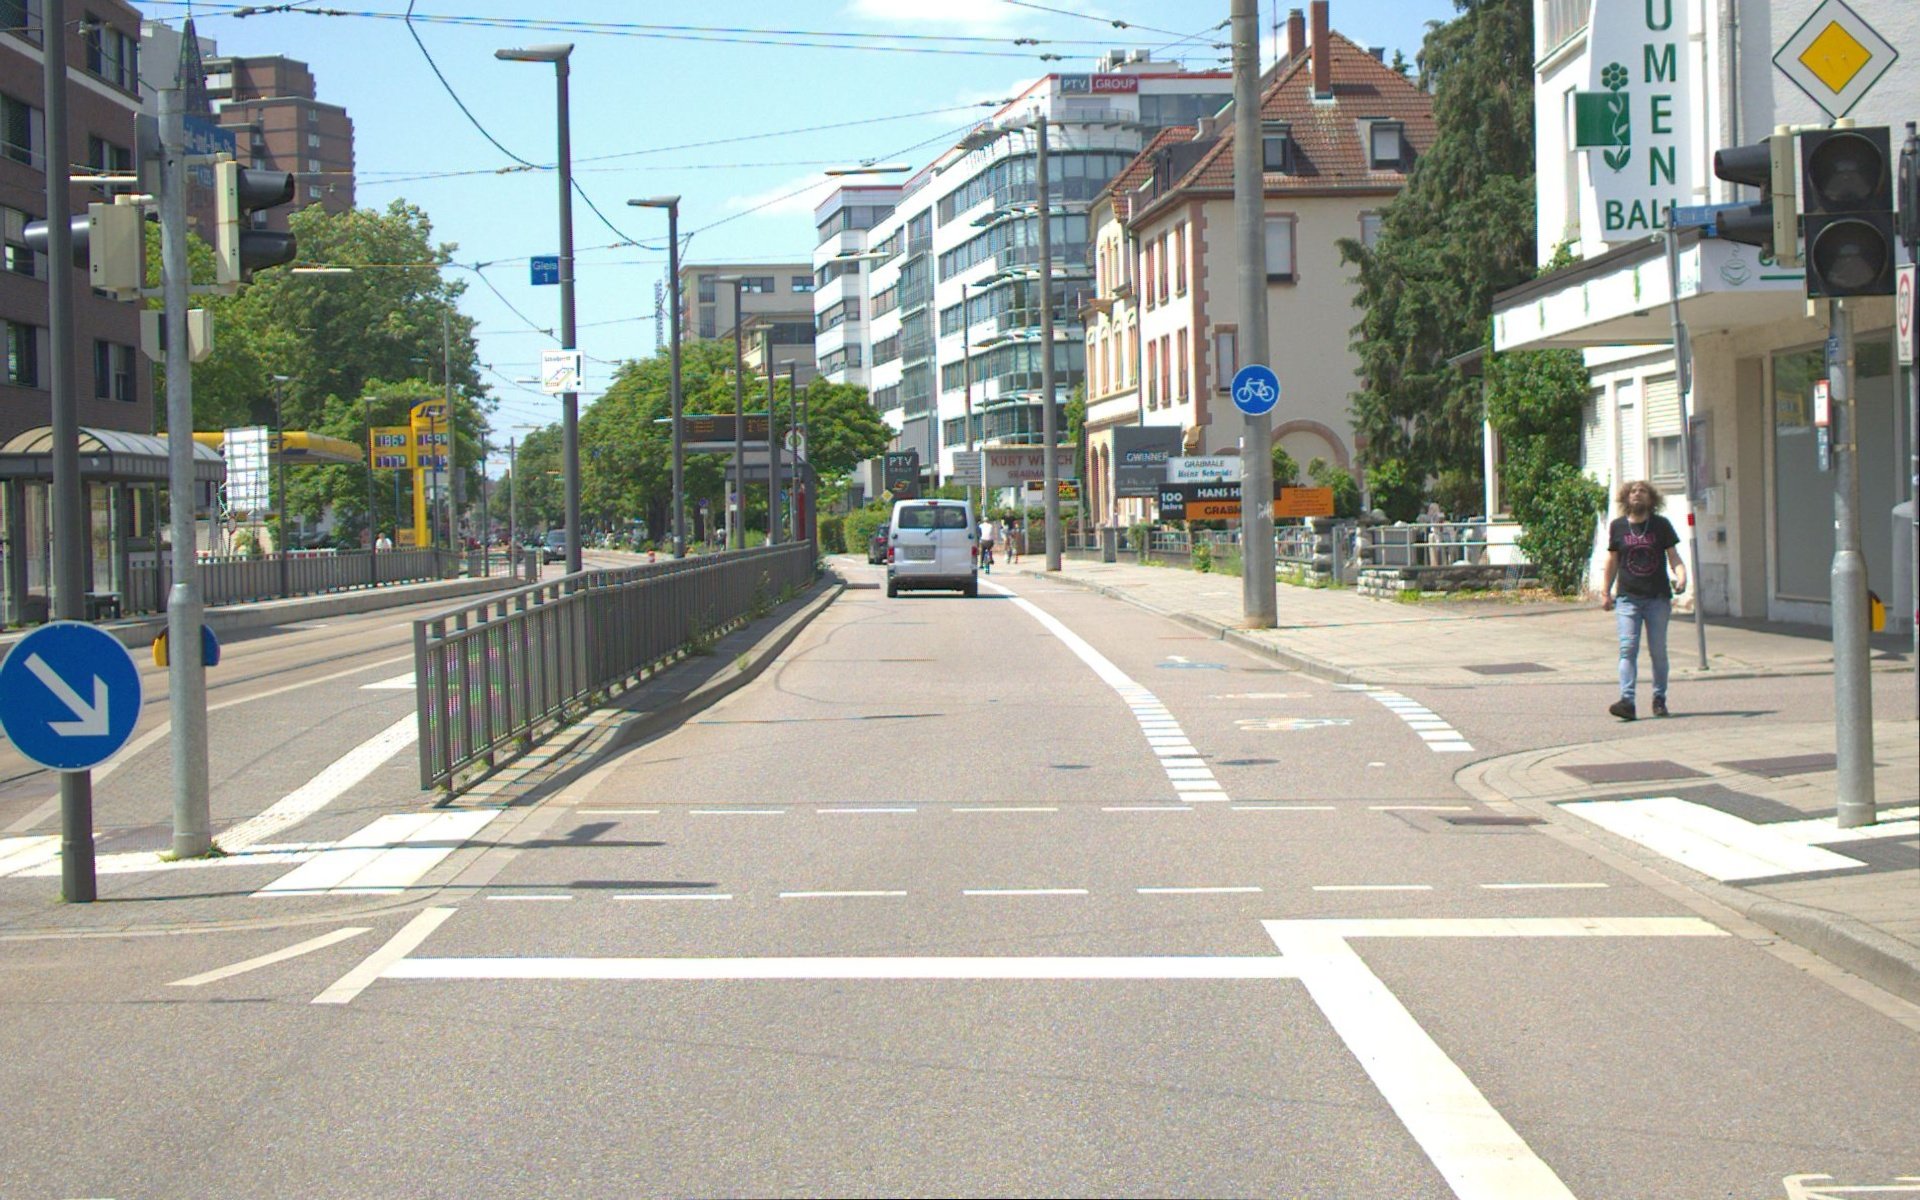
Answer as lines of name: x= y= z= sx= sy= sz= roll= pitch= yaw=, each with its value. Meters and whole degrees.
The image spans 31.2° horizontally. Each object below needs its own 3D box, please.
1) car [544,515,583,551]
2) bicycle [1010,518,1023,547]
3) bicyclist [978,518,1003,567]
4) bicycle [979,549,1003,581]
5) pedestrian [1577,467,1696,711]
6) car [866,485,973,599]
car: x=-19.174 y=-3.234 z=166.202 sx=1.698 sy=1.610 sz=3.759 roll=-4 pitch=0 yaw=-7
bicycle: x=1.899 y=-2.256 z=115.234 sx=0.356 sy=0.937 sz=1.317 roll=-3 pitch=1 yaw=0
bicyclist: x=0.879 y=-1.661 z=99.280 sx=0.591 sy=1.392 sz=0.842 roll=-1 pitch=2 yaw=-5
bicycle: x=0.893 y=-1.021 z=99.335 sx=0.465 sy=0.884 sz=2.048 roll=-1 pitch=2 yaw=-5
pedestrian: x=4.453 y=-0.078 z=22.664 sx=0.577 sy=1.550 sz=0.786 roll=-3 pitch=1 yaw=3
car: x=-0.739 y=-1.142 z=65.628 sx=1.752 sy=2.006 sz=4.000 roll=-2 pitch=2 yaw=2
